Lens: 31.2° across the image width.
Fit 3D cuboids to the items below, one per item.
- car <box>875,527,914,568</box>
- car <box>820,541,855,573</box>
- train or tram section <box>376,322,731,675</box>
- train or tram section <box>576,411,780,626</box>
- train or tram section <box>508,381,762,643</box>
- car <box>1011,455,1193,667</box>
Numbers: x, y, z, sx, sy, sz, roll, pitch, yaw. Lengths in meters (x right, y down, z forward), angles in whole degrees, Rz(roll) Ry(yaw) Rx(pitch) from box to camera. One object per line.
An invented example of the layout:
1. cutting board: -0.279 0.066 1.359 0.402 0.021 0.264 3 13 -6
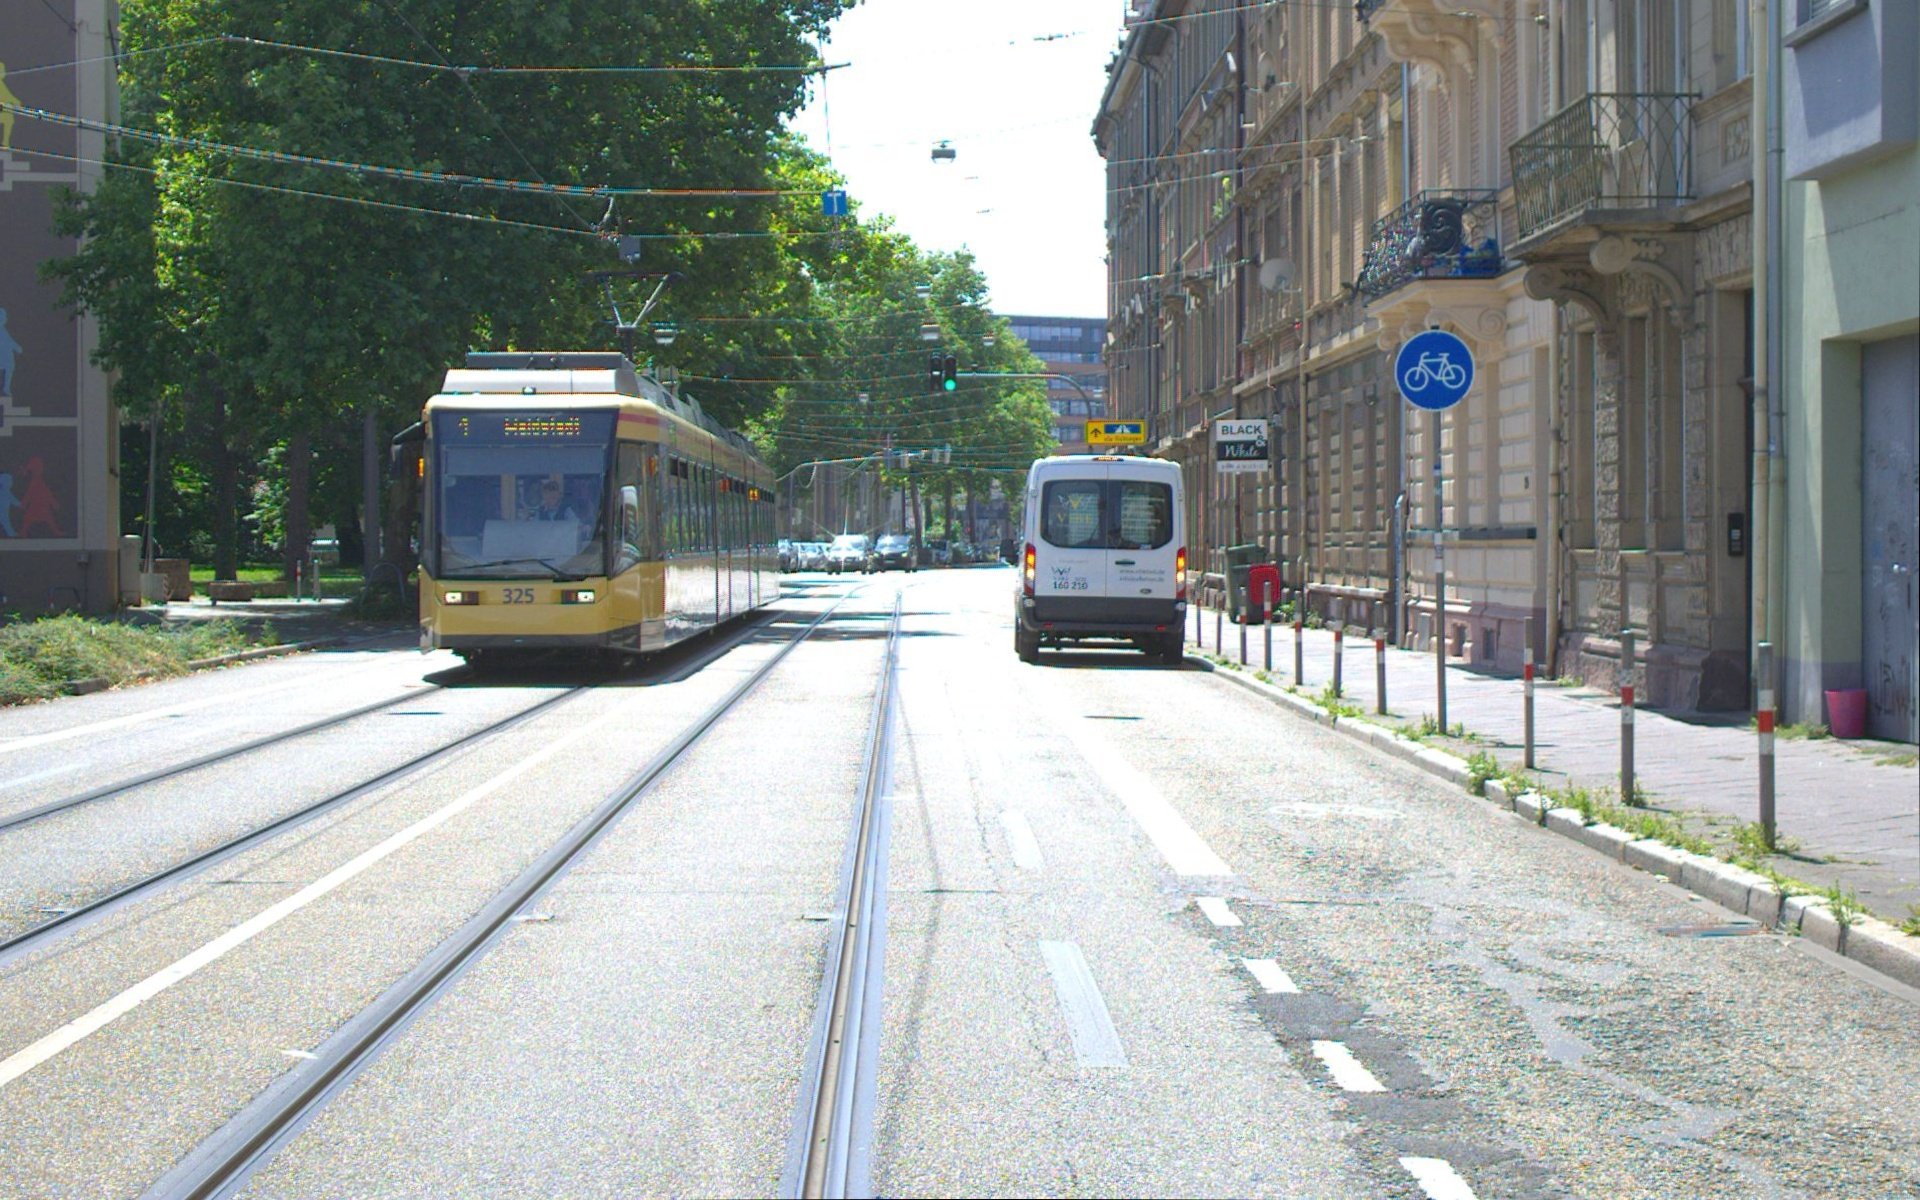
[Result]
1. car: -3.086 -2.470 161.762 1.673 1.853 4.001 1 1 -3
2. car: -5.533 -1.940 155.025 1.528 1.404 3.490 1 1 -3
3. train or tram section: -4.577 -1.149 41.629 2.960 3.568 13.424 0 1 -1
4. train or tram section: -5.060 -1.478 64.047 2.960 3.568 13.424 0 1 -1
5. train or tram section: -4.841 -1.327 53.803 2.960 3.568 13.424 0 1 -1
6. car: 1.734 -0.514 43.782 2.067 2.492 5.454 1 1 0
